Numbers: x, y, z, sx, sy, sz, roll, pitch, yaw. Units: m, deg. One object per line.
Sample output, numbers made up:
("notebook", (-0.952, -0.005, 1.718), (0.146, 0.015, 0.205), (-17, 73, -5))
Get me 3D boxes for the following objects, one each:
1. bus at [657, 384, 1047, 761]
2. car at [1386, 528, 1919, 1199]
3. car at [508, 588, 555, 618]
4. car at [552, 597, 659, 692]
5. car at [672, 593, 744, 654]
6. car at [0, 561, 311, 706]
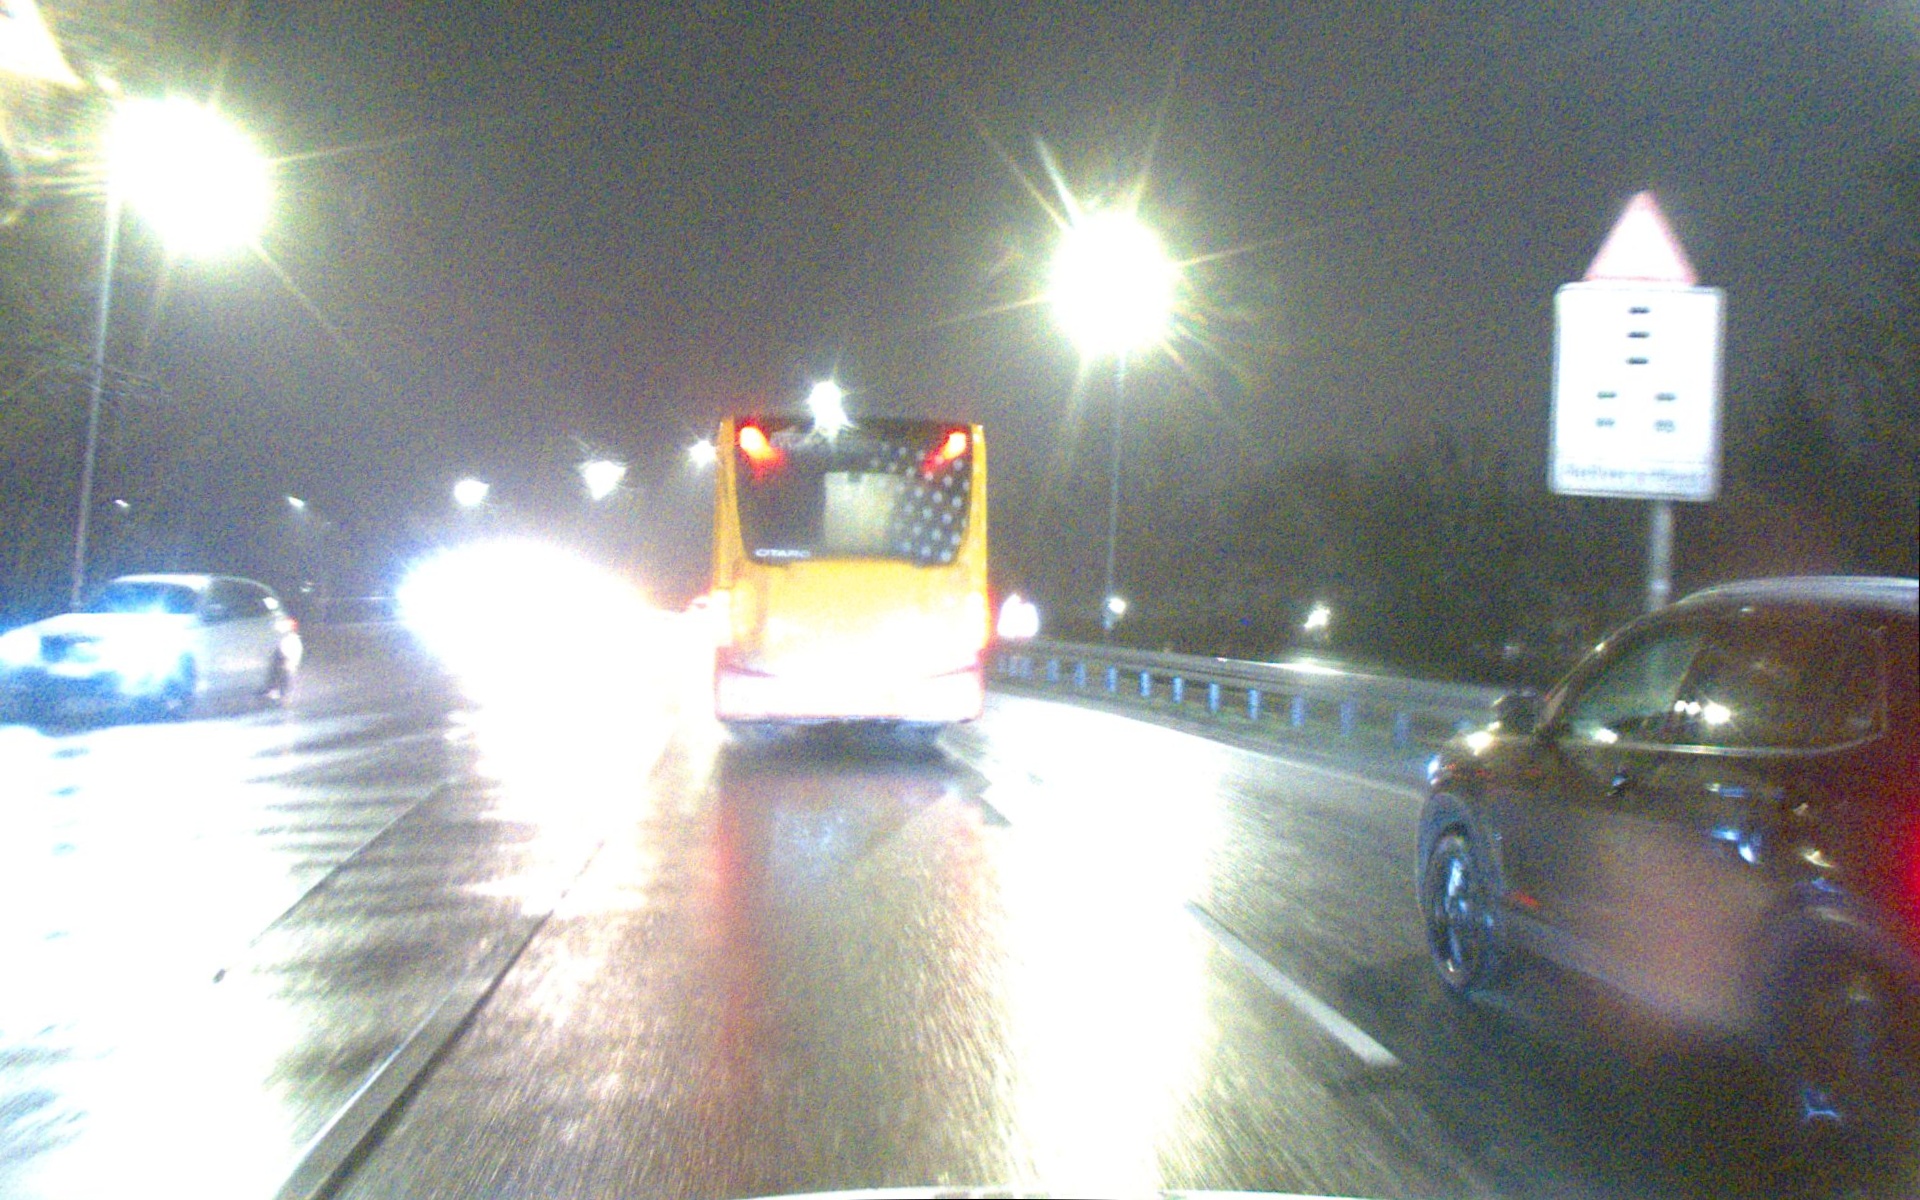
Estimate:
("bus", (-1.369, -0.451, 18.874), (3.222, 3.102, 9.535), (2, 3, -6))
("car", (2.863, 0.678, 5.157), (1.645, 1.548, 3.955), (3, -1, -6))
("car", (-26.067, 0.166, 100.458), (1.796, 1.646, 3.962), (4, -2, -29))
("car", (-8.306, 1.049, 39.056), (1.955, 2.049, 4.342), (2, -2, -6))
("car", (-9.172, 0.846, 59.916), (1.961, 2.049, 4.330), (4, -1, -16))
("car", (-10.037, 0.366, 20.993), (1.843, 1.635, 4.659), (0, 0, -2))
